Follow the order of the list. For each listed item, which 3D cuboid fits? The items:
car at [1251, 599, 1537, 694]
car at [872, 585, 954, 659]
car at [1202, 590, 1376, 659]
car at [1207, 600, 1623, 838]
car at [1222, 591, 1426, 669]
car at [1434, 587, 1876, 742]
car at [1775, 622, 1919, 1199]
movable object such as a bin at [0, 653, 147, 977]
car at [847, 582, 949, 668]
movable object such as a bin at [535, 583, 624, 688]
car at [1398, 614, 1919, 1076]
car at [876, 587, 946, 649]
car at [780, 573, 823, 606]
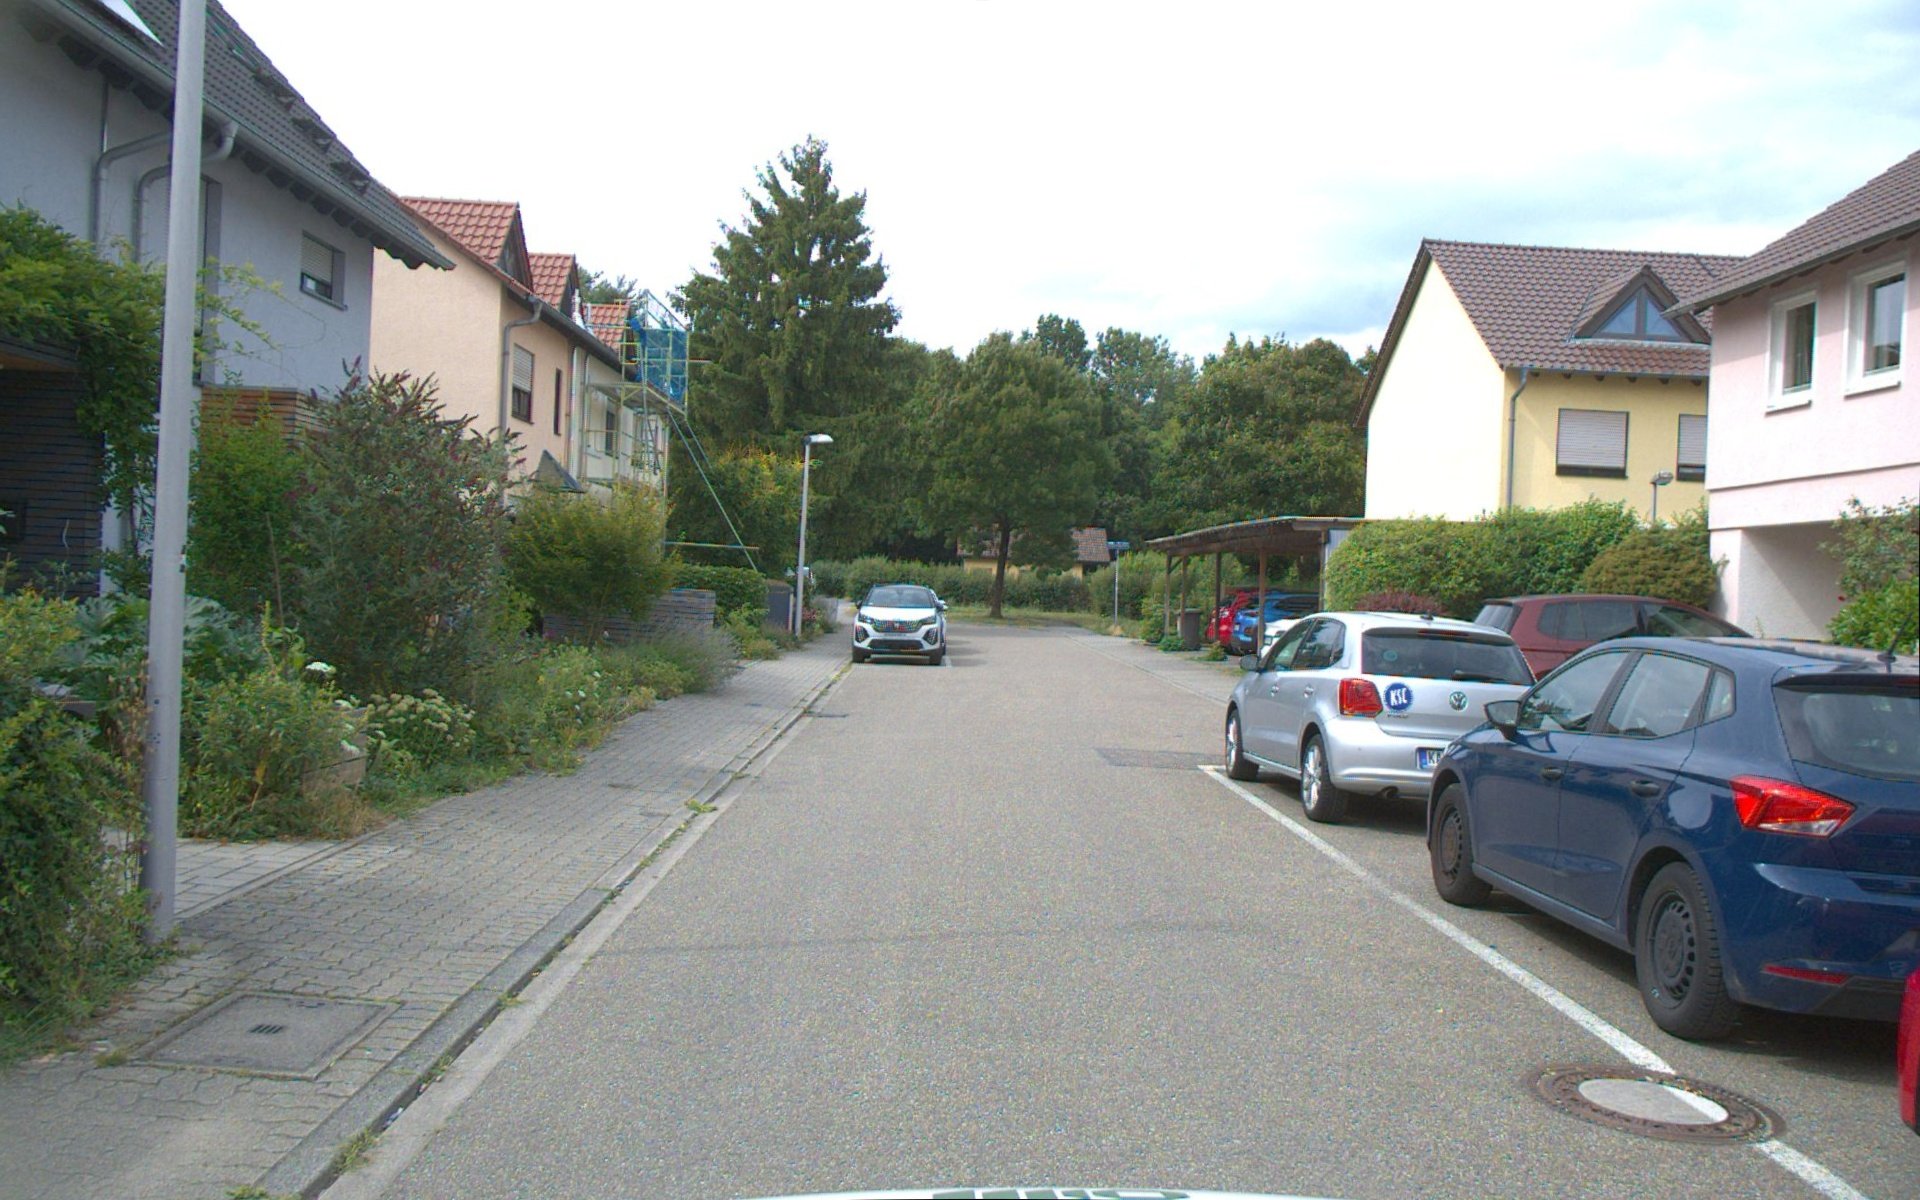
[{"bbox_3d":[7.446,0.779,28.668,4.361,1.458,2.026,1,0,-3],"label":"car"},{"bbox_3d":[-1.086,0.471,39.088,1.773,1.589,4.847,1,0,-1],"label":"car"},{"bbox_3d":[8.139,0.592,41.144,3.879,1.567,1.838,1,0,-4],"label":"car"},{"bbox_3d":[3.282,0.775,12.869,1.828,1.441,4.250,2,0,-3],"label":"car"},{"bbox_3d":[7.917,0.634,36.218,3.966,1.549,1.949,1,0,-4],"label":"car"},{"bbox_3d":[7.761,0.693,18.768,4.183,1.587,1.934,1,0,-1],"label":"car"},{"bbox_3d":[3.370,0.861,2.538,1.738,1.460,4.825,4,0,-1],"label":"car"},{"bbox_3d":[-3.343,0.727,5.841,0.590,1.045,0.665,1,0,0],"label":"movable object such as a bin"},{"bbox_3d":[-1.197,0.462,33.686,1.894,1.583,4.634,1,0,0],"label":"car"},{"bbox_3d":[-5.025,0.456,21.903,0.930,1.335,1.000,1,0,-2],"label":"movable object such as a bin"},{"bbox_3d":[3.413,0.809,7.373,1.737,1.379,4.265,1,0,0],"label":"car"},{"bbox_3d":[-1.275,0.438,44.544,1.755,1.558,4.140,1,0,0],"label":"car"},{"bbox_3d":[-8.634,-0.596,90.217,1.898,1.689,4.340,2,0,-1],"label":"car"}]
